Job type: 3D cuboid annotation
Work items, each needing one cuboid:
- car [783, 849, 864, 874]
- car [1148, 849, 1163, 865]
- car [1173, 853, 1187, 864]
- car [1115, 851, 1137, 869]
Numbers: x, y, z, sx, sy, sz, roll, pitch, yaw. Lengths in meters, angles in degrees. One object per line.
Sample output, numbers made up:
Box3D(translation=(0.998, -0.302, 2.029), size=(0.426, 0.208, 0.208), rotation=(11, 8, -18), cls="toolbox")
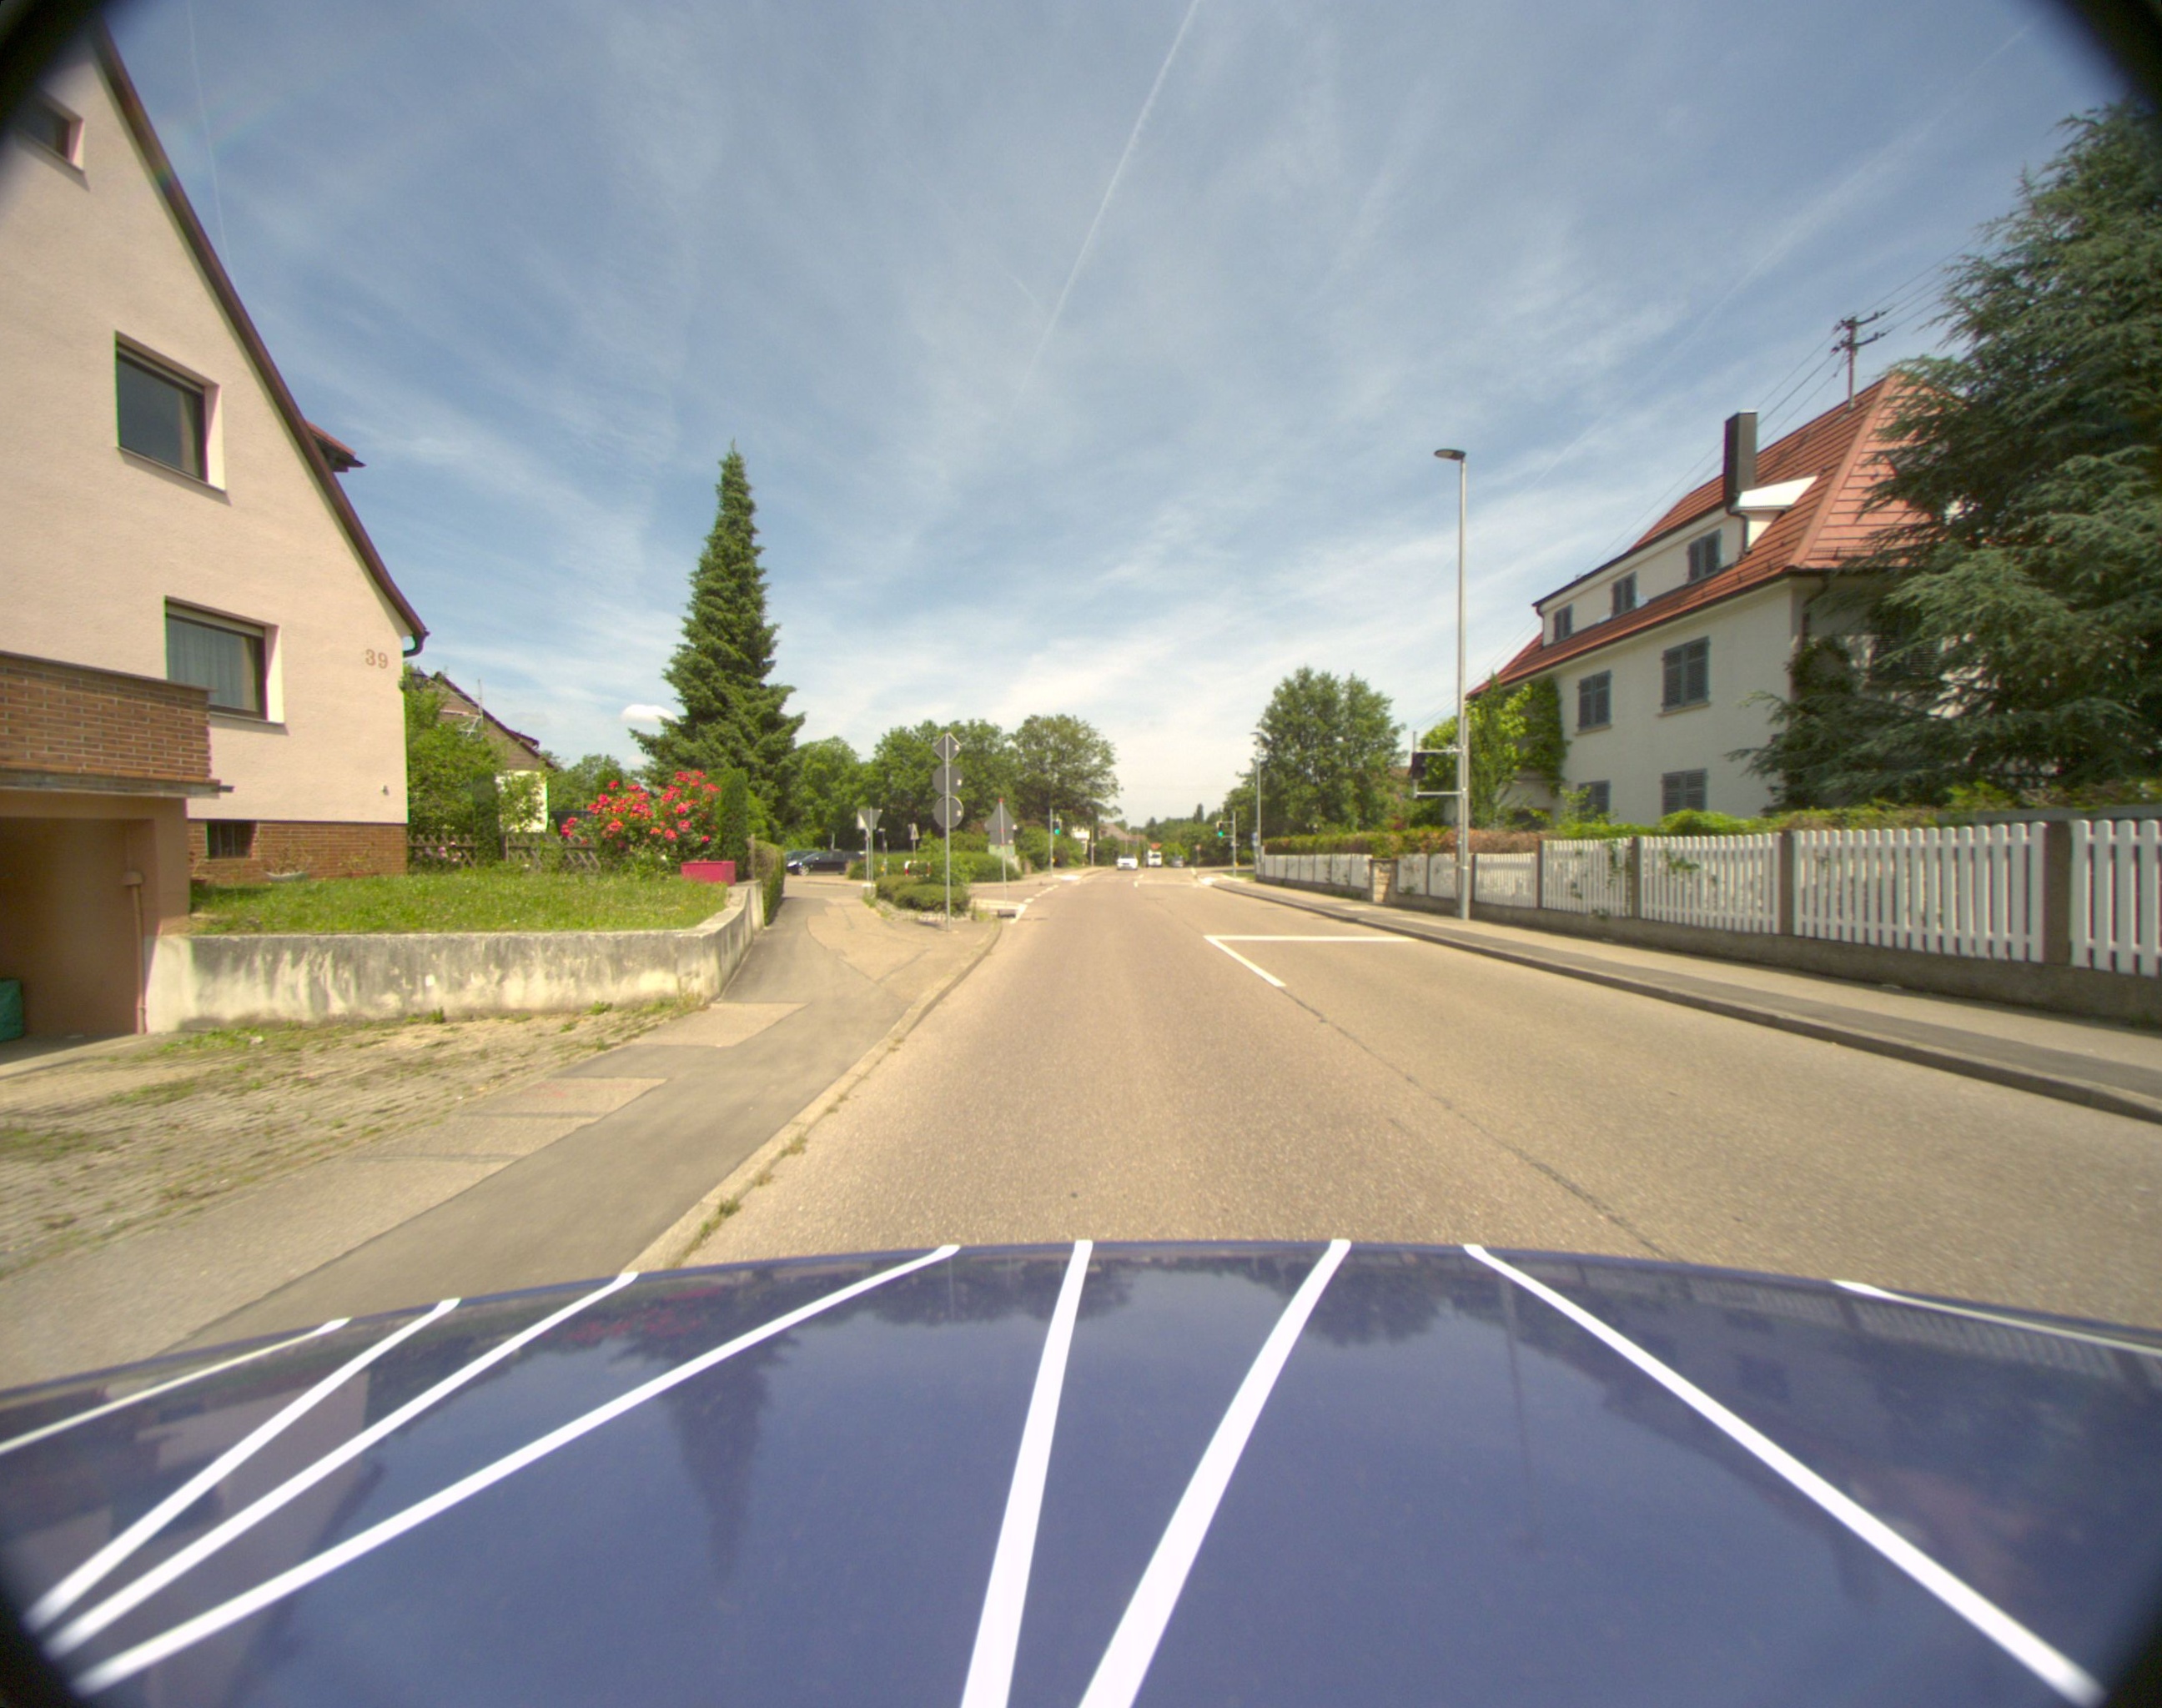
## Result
Box3D(translation=(-15.199, 0.425, 44.970), size=(4.293, 1.390, 1.396), rotation=(-1, 1, -37), cls="car")
Box3D(translation=(9.760, 0.363, 99.744), size=(1.883, 1.954, 4.903), rotation=(0, 1, 5), cls="car")
Box3D(translation=(13.216, 0.559, 101.538), size=(1.783, 1.386, 4.411), rotation=(0, 1, 7), cls="car")
Box3D(translation=(4.103, 0.530, 69.047), size=(1.826, 1.543, 4.002), rotation=(0, 0, 5), cls="car")
